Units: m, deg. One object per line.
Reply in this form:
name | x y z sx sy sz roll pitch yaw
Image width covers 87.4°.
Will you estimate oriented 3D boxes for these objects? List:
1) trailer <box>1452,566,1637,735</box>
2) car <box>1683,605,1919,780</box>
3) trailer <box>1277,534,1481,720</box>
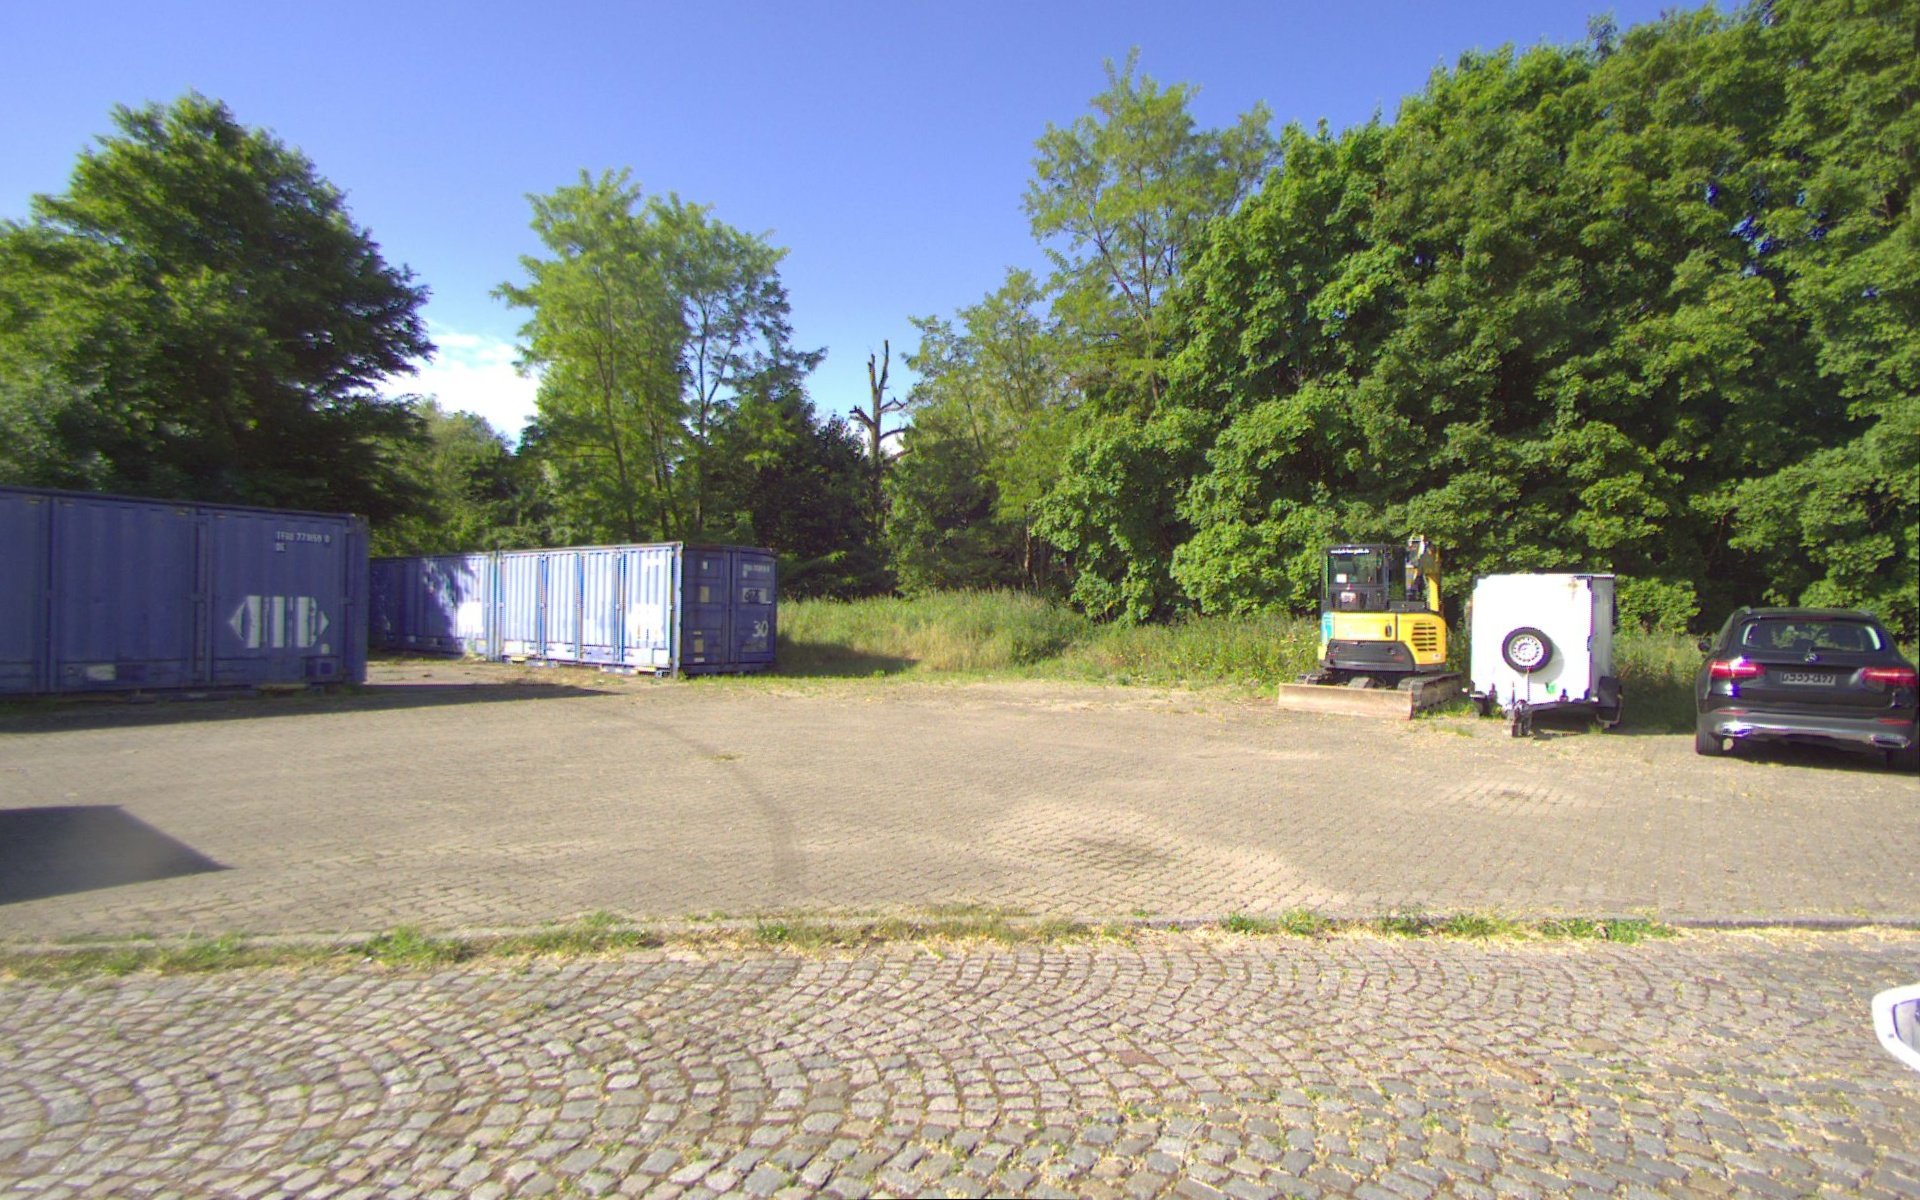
trailer | 8.214 0.612 14.027 1.796 2.078 2.837 1 1 39
car | 9.608 0.883 11.571 1.939 1.611 4.114 1 1 37
trailer | 6.582 0.304 15.706 2.231 2.573 2.837 1 3 39
